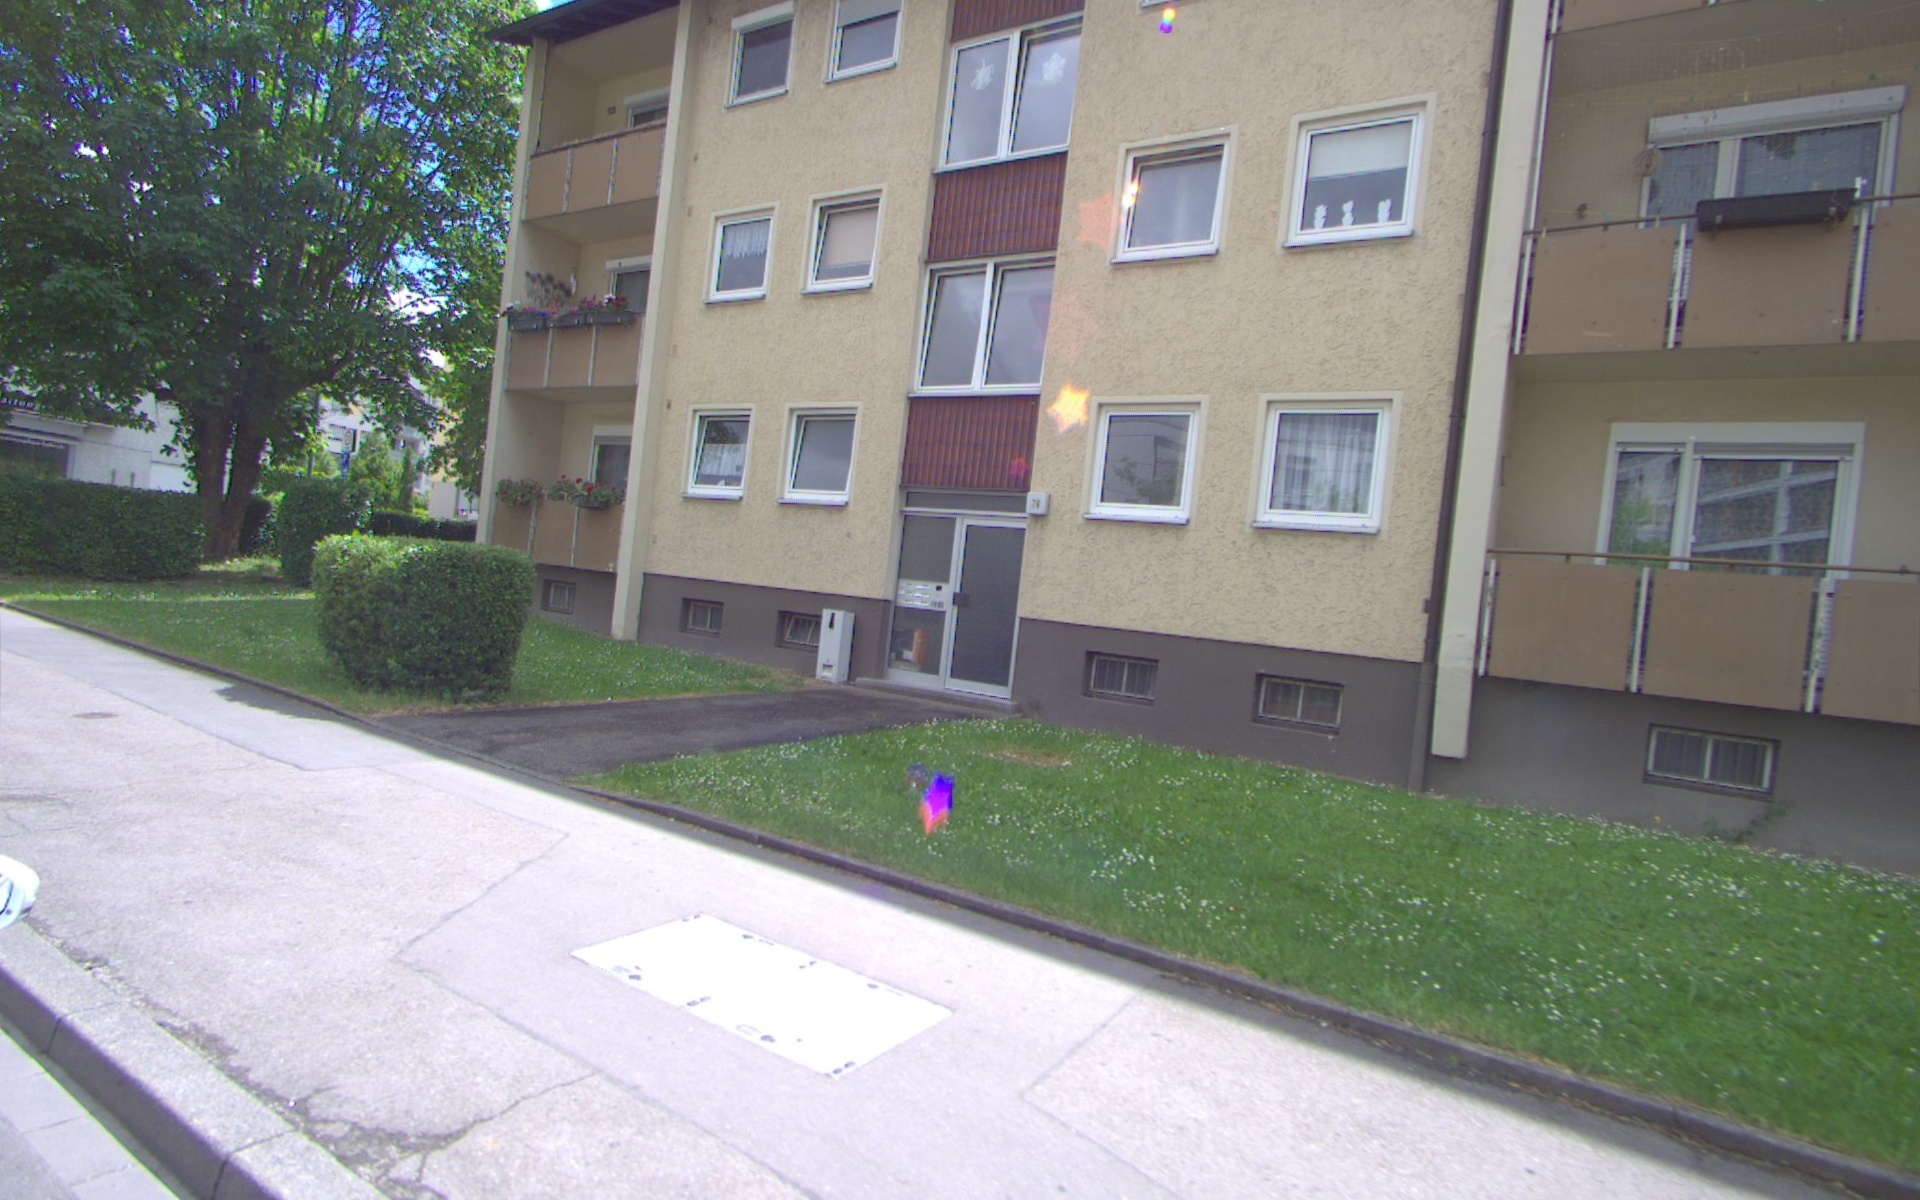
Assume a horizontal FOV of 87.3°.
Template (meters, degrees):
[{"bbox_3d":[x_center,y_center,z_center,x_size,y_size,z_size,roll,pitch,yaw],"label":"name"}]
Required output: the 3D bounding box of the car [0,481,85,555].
[{"bbox_3d":[-23.451,-2.114,24.079,3.682,1.542,1.976,6,2,-42],"label":"car"}]
